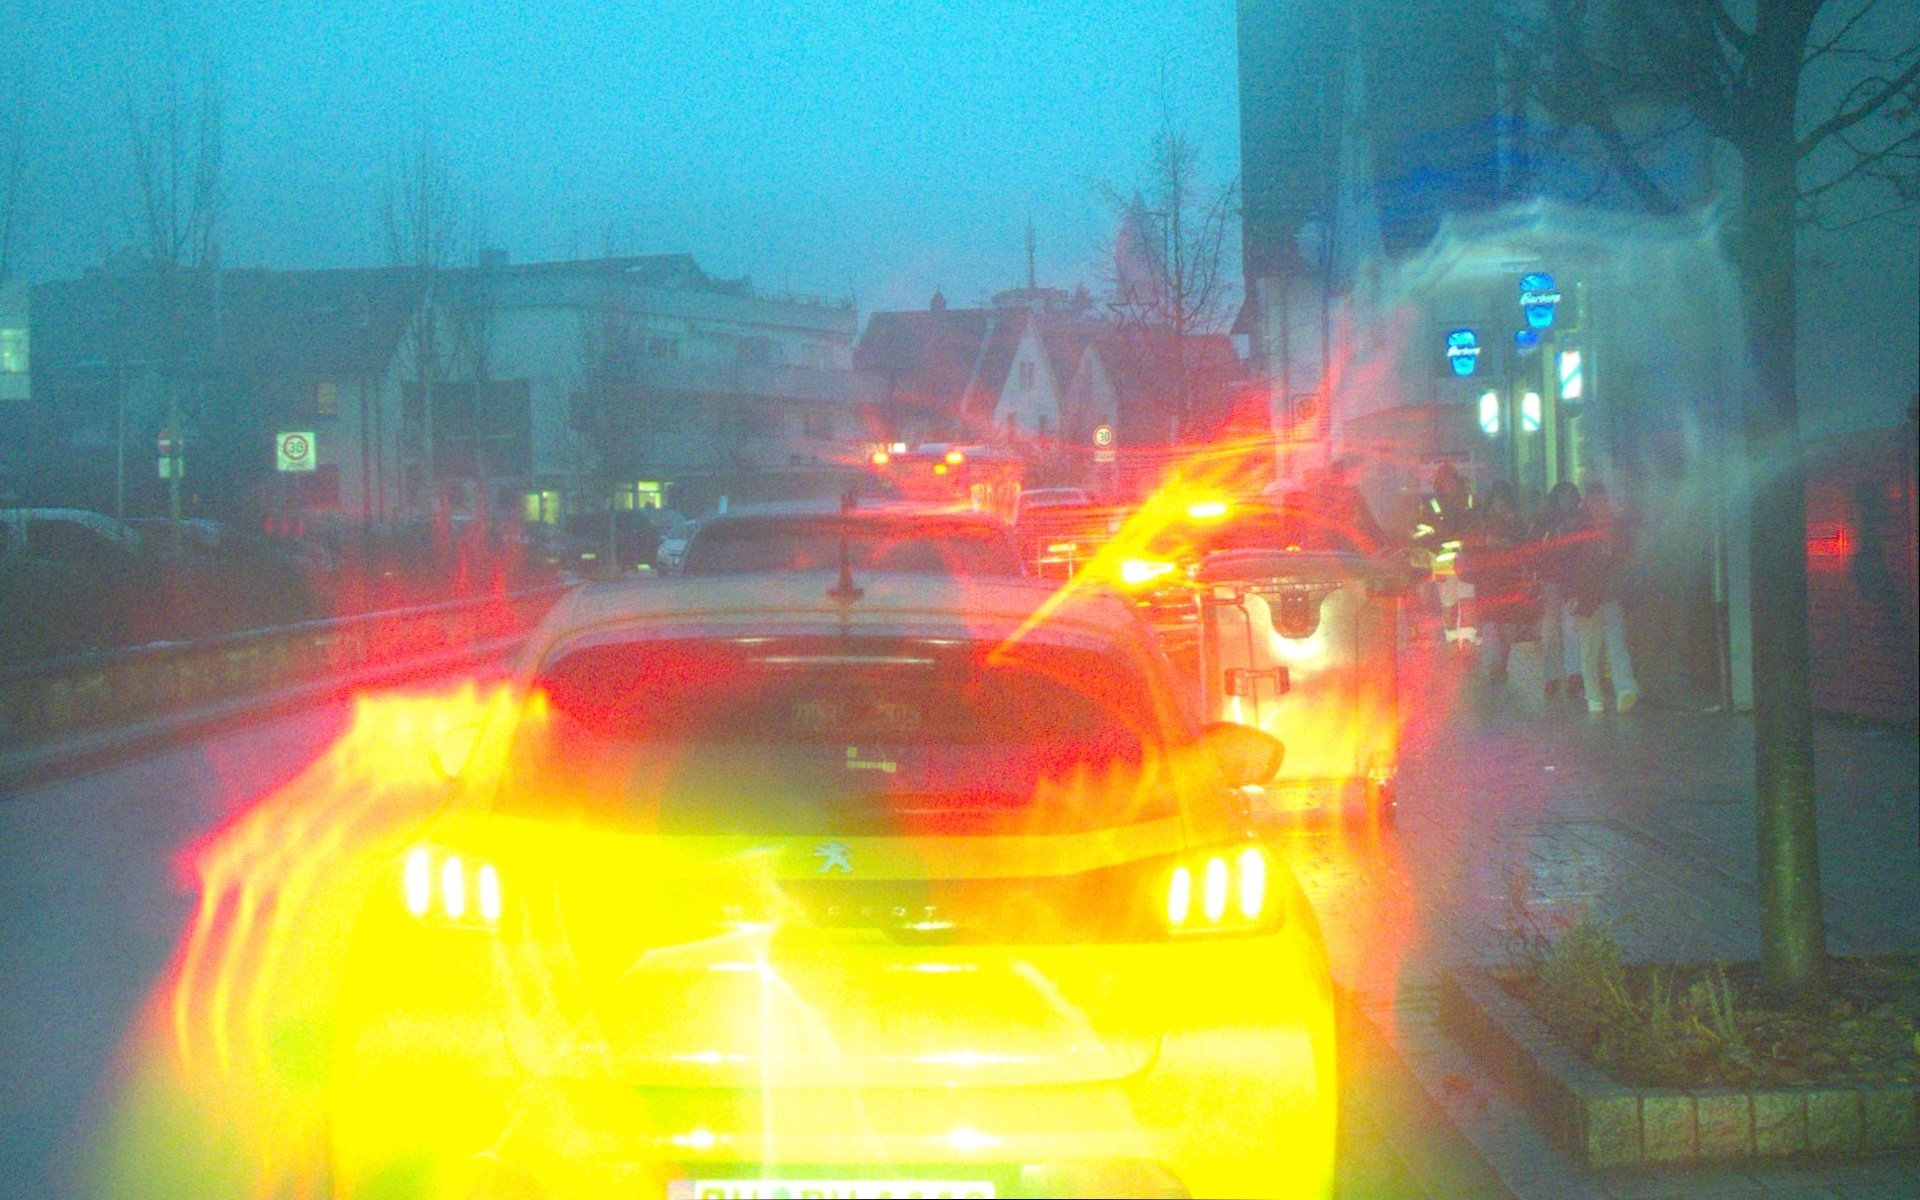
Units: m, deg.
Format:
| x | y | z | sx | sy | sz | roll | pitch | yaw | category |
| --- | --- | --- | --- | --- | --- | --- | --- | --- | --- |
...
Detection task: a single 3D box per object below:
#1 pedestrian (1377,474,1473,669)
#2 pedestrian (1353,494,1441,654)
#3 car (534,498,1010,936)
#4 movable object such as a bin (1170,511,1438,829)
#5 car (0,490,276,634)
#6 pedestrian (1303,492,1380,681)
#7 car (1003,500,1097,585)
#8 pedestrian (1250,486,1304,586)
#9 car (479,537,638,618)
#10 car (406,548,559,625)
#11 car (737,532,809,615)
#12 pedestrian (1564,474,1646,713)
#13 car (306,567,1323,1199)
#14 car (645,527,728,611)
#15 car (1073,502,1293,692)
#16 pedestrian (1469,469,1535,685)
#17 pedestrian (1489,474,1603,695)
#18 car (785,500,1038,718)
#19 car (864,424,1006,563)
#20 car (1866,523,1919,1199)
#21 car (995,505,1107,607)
| x | y | z | sx | sy | sz | roll | pitch | yaw | category |
| --- | --- | --- | --- | --- | --- | --- | --- | --- | --- |
| 4.201 | -0.268 | 31.034 | 0.712 | 1.709 | 1.034 | -2 | 2 | 13 | pedestrian |
| 4.538 | -0.277 | 35.716 | 0.618 | 1.621 | 0.907 | -1 | 2 | -14 | pedestrian |
| -0.723 | 0.395 | 14.664 | 1.766 | 1.623 | 3.586 | 1 | 1 | -1 | car |
| 1.667 | 0.314 | 16.946 | 1.129 | 1.415 | 1.417 | -4 | 2 | 2 | movable object such as a bin |
| -10.602 | -0.451 | 40.801 | 4.625 | 1.662 | 2.000 | 0 | 1 | -3 | car |
| 3.499 | -0.130 | 31.548 | 0.573 | 1.694 | 0.653 | -3 | 1 | 1 | pedestrian |
| 1.992 | -1.279 | 77.147 | 1.997 | 1.858 | 4.083 | 0 | 1 | 0 | car |
| 4.854 | -0.987 | 52.721 | 0.618 | 1.510 | 0.734 | -1 | 2 | -14 | pedestrian |
| -11.089 | -0.598 | 94.828 | 4.383 | 2.159 | 1.995 | 0 | -1 | 44 | car |
| -12.690 | -0.340 | 91.271 | 4.166 | 1.969 | 1.818 | 0 | -1 | 44 | car |
| -5.199 | -0.721 | 96.022 | 1.919 | 2.208 | 3.975 | 1 | -1 | -2 | car |
| 4.531 | -0.036 | 24.181 | 0.529 | 1.647 | 0.953 | 0 | -1 | 10 | pedestrian |
| -0.241 | 0.665 | 6.830 | 1.563 | 1.408 | 3.018 | 1 | 1 | 0 | car |
| -6.966 | -0.779 | 87.872 | 1.919 | 2.021 | 3.975 | 1 | -1 | -2 | car |
| 2.090 | -0.064 | 33.278 | 1.735 | 1.686 | 4.386 | -1 | 1 | -1 | car |
| 4.574 | -0.205 | 29.002 | 0.529 | 1.794 | 0.864 | 0 | 2 | 9 | pedestrian |
| 4.592 | -0.120 | 26.996 | 0.747 | 1.673 | 1.052 | -2 | 0 | 6 | pedestrian |
| -0.318 | 0.016 | 22.855 | 1.541 | 1.327 | 3.311 | 1 | 1 | -1 | car |
| -0.666 | -2.499 | 82.722 | 3.190 | 3.021 | 6.305 | 1 | -1 | -2 | car |
| 2.472 | 0.608 | 4.055 | 1.728 | 1.459 | 4.199 | -3 | 2 | 2 | car |
| 1.698 | -0.830 | 65.233 | 1.997 | 1.858 | 4.083 | 0 | 1 | 0 | car |
